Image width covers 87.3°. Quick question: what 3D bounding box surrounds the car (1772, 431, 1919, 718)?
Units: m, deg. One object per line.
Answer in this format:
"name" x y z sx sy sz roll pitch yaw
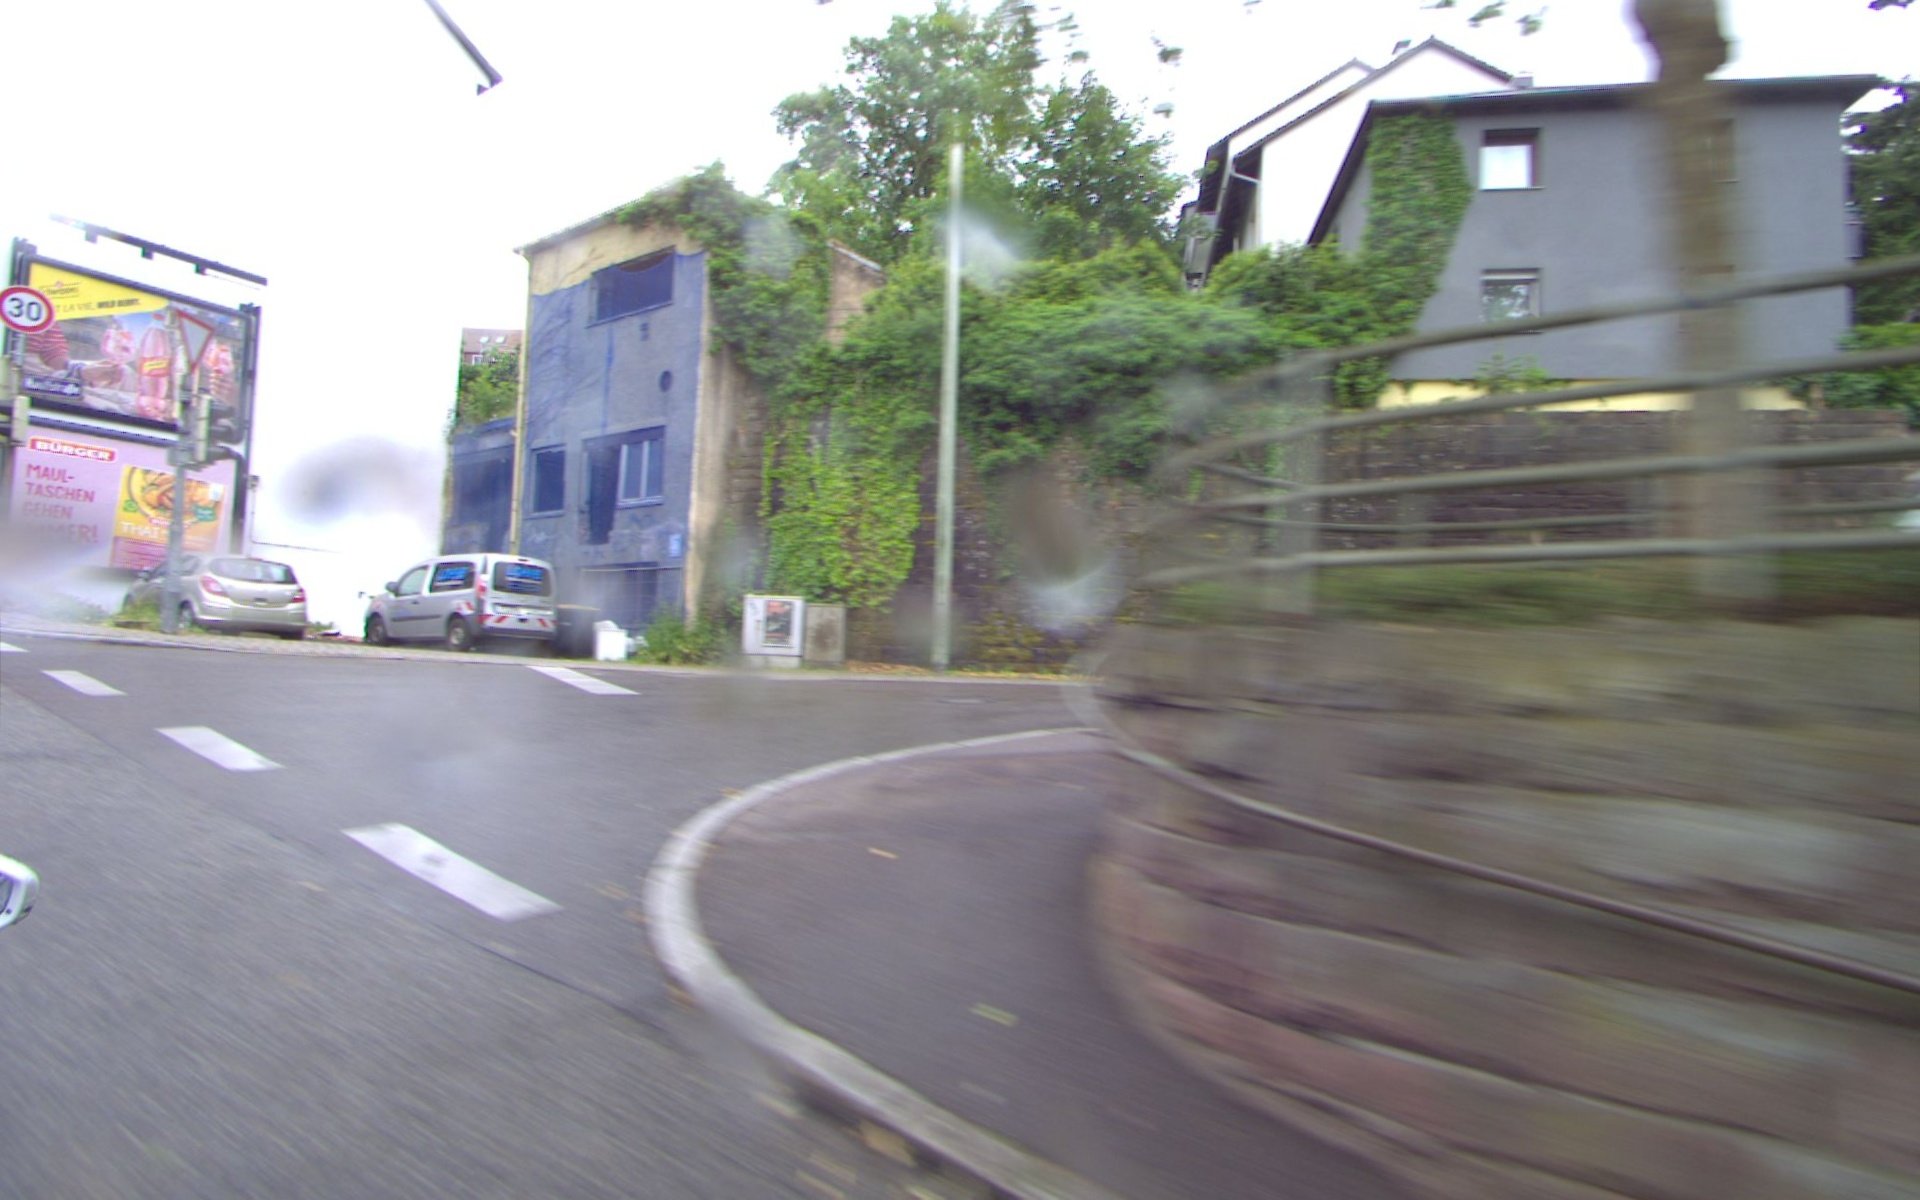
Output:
"car" 7.030 -0.180 5.088 4.284 1.507 1.634 -4 -8 32

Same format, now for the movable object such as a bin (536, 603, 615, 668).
"movable object such as a bin" -7.690 0.717 20.130 1.106 1.153 0.942 4 -4 36

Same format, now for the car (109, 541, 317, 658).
"car" -13.031 -0.040 17.482 3.936 1.501 1.564 7 -2 34

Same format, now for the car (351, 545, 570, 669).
"car" -9.468 0.100 18.962 4.175 1.934 1.731 3 -4 35
